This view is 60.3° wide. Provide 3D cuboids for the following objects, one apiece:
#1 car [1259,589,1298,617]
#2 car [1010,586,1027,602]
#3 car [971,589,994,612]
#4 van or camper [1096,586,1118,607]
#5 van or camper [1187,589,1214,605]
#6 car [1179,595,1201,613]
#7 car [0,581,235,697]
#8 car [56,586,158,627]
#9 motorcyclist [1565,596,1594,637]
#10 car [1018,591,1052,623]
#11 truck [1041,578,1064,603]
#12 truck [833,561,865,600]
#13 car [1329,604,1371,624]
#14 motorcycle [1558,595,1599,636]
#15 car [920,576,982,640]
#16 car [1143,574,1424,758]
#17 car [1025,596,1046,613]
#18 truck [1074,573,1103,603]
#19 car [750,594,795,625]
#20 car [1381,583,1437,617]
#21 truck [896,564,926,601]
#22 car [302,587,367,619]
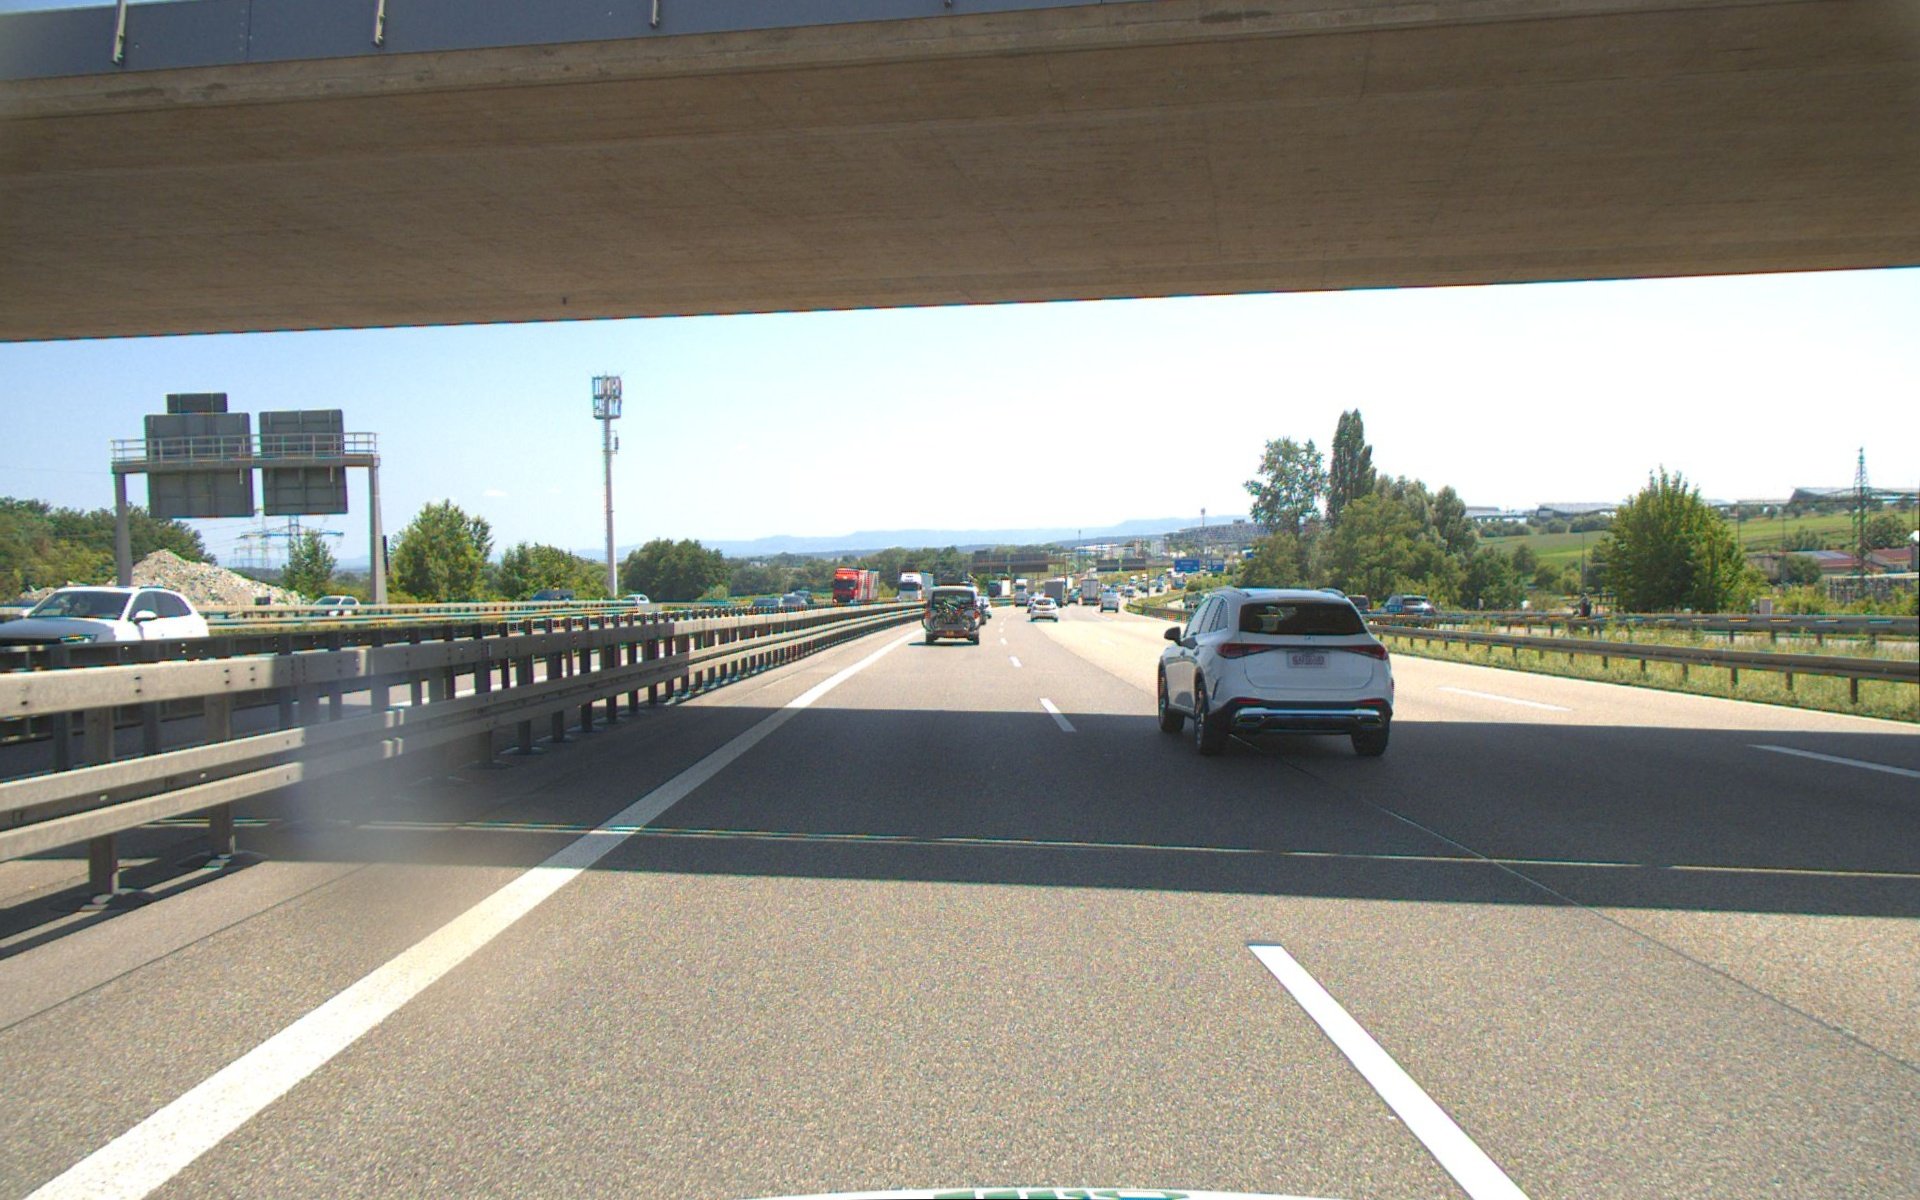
[{"bbox_3d":[23.410,0.203,121.808,1.900,1.957,4.177,1,0,-2],"label":"car"},{"bbox_3d":[7.736,-0.785,217.953,2.141,2.038,4.001,1,0,2],"label":"car"},{"bbox_3d":[1.589,0.057,115.924,1.543,1.579,3.965,1,0,2],"label":"car"},{"bbox_3d":[15.346,-0.368,172.428,2.111,2.049,4.306,1,0,3],"label":"van or camper"},{"bbox_3d":[31.216,-0.347,214.792,2.480,2.049,4.454,1,0,-7],"label":"van or camper"},{"bbox_3d":[26.812,0.431,192.895,1.953,2.049,3.998,1,0,-2],"label":"car"},{"bbox_3d":[-13.572,0.545,26.304,1.888,1.668,4.977,0,0,0],"label":"car"},{"bbox_3d":[-35.381,0.232,68.708,1.952,1.646,4.323,0,0,1],"label":"car"},{"bbox_3d":[21.670,0.570,57.898,0.655,1.390,0.878,1,0,-2],"label":"motorcyclist"},{"bbox_3d":[4.674,0.433,104.015,1.887,1.952,4.517,1,0,0],"label":"car"},{"bbox_3d":[12.186,-1.263,216.979,2.645,3.163,10.665,1,0,5],"label":"truck"},{"bbox_3d":[-12.006,-2.074,180.262,2.529,4.187,10.350,1,0,1],"label":"truck"},{"bbox_3d":[26.004,0.922,110.392,1.665,1.299,3.998,1,0,-2],"label":"car"},{"bbox_3d":[21.666,0.524,57.972,0.744,1.390,1.869,1,0,0],"label":"motorcycle"},{"bbox_3d":[-0.244,0.244,53.343,1.887,1.952,4.948,1,0,1],"label":"car"},{"bbox_3d":[3.274,0.610,17.822,1.860,1.676,4.996,1,0,-2],"label":"car"},{"bbox_3d":[7.061,0.422,154.475,1.941,1.499,4.001,0,0,2],"label":"car"},{"bbox_3d":[20.573,-1.958,263.551,3.953,4.335,11.769,1,3,8],"label":"truck"},{"bbox_3d":[-8.857,0.445,78.295,1.597,1.435,4.100,0,0,1],"label":"car"},{"bbox_3d":[21.620,-0.010,79.753,1.664,1.602,4.129,1,0,1],"label":"car"},{"bbox_3d":[-5.959,-2.152,202.348,2.866,4.420,6.919,1,0,4],"label":"truck"},{"bbox_3d":[-33.517,0.148,88.724,1.952,1.646,4.000,0,0,1],"label":"car"}]
